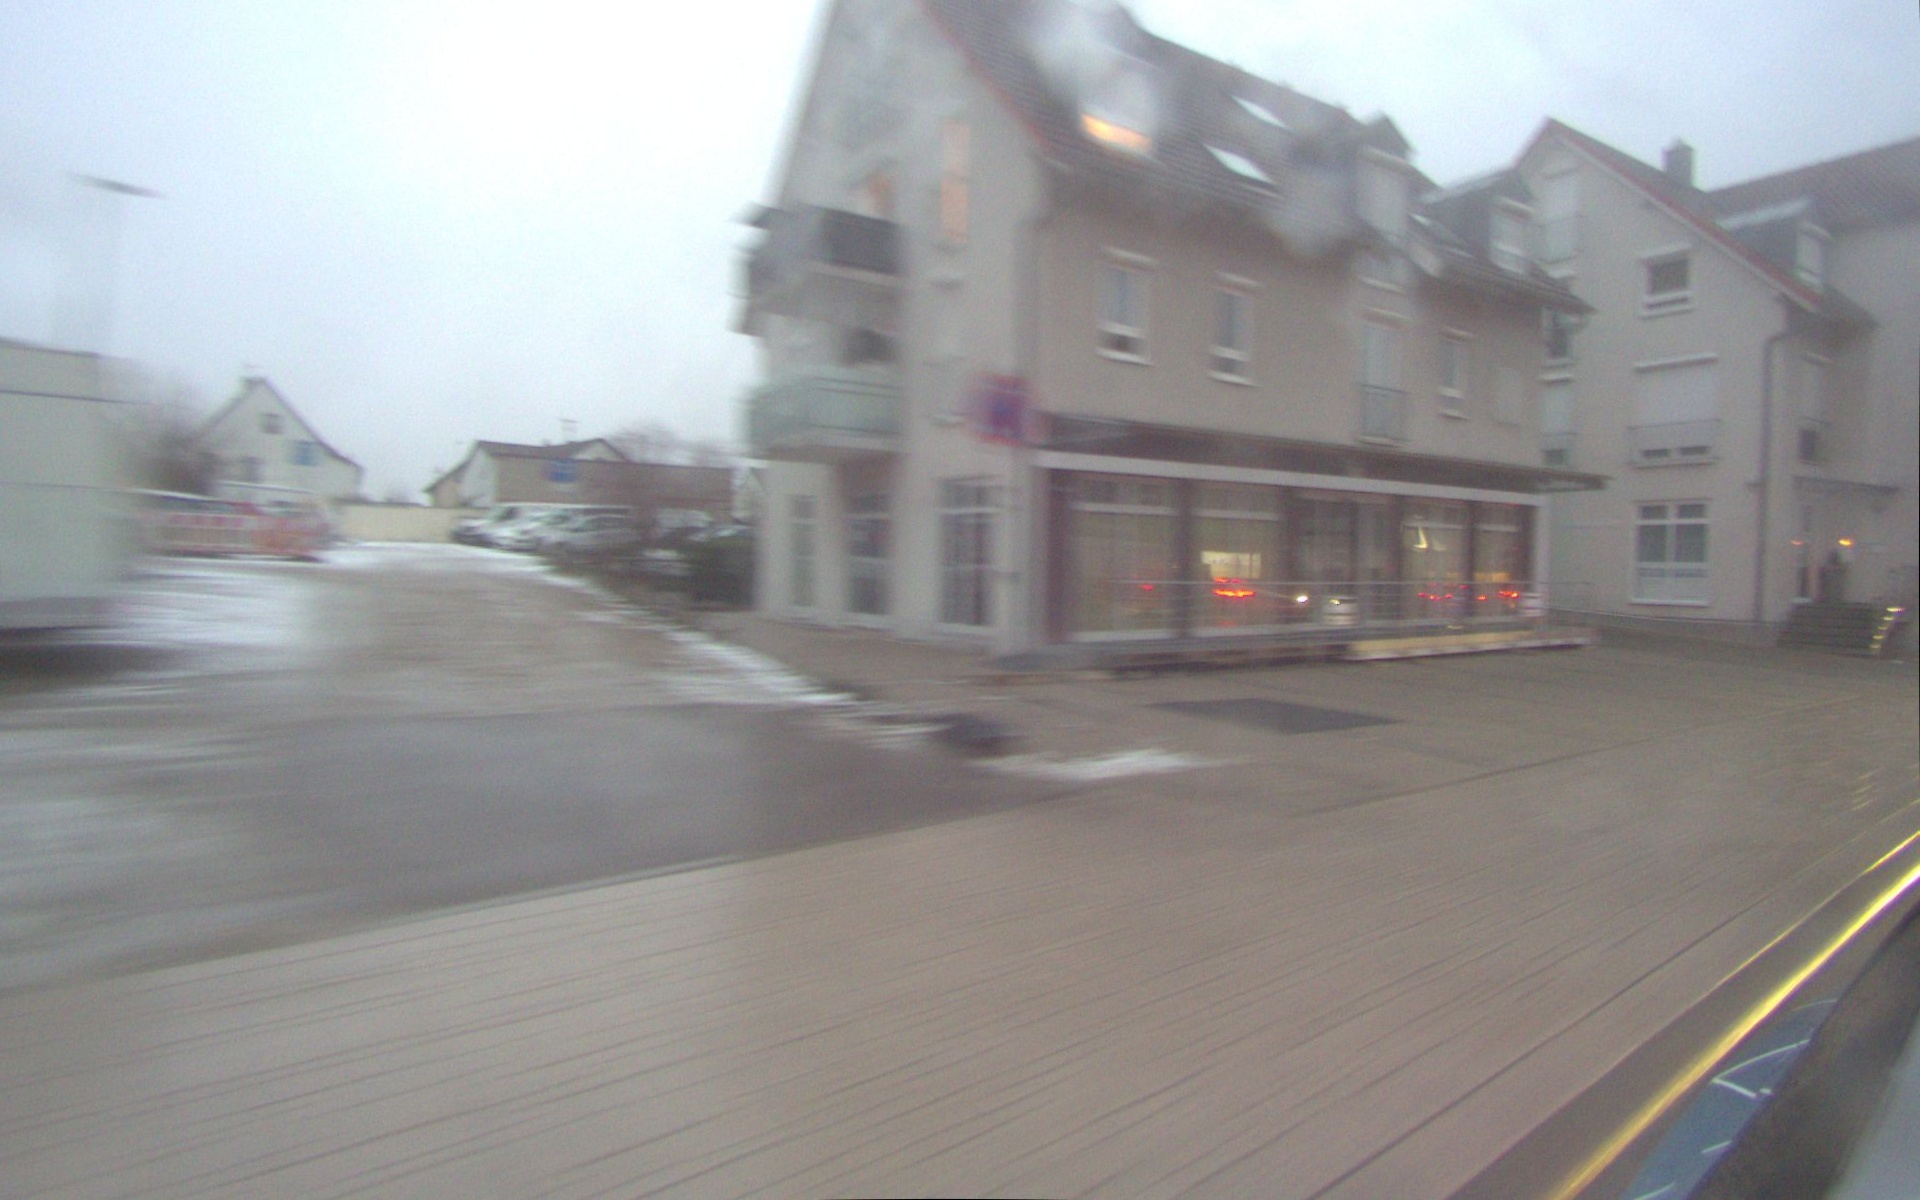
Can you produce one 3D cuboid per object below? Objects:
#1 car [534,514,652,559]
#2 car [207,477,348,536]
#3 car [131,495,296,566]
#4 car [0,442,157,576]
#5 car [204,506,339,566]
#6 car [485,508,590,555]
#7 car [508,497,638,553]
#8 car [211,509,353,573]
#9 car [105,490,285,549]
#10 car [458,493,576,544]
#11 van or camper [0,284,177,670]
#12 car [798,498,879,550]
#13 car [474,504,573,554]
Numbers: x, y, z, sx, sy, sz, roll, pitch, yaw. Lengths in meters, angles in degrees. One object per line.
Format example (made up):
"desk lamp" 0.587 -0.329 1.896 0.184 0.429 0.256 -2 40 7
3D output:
"car" -13.751 -2.341 37.956 3.919 1.503 2.003 0 1 -29
"car" -30.640 -4.122 45.561 5.174 2.277 2.000 0 1 -36
"car" -23.494 -2.163 32.034 3.918 2.038 2.004 1 3 -27
"car" -14.893 -1.383 14.829 4.707 1.906 1.786 0 5 -33
"car" -25.651 -2.363 37.873 3.918 2.038 2.004 1 3 -27
"car" -17.930 -2.881 42.968 3.919 1.795 2.003 0 1 -29
"car" -15.460 -2.948 40.435 4.635 1.982 2.003 0 1 -29
"car" -23.422 -2.015 34.990 3.928 2.038 1.999 0 3 -39
"car" -22.115 -2.312 29.438 3.918 1.469 1.775 1 3 -27
"car" -22.158 -4.028 50.716 5.147 2.216 2.000 0 1 -36
"van or camper" -10.169 -1.068 7.541 6.624 3.083 2.655 -1 5 -44
"car" -5.379 -3.293 44.519 1.961 2.039 4.002 0 1 -33
"car" -19.480 -3.125 45.174 3.919 2.039 2.003 0 1 -29
